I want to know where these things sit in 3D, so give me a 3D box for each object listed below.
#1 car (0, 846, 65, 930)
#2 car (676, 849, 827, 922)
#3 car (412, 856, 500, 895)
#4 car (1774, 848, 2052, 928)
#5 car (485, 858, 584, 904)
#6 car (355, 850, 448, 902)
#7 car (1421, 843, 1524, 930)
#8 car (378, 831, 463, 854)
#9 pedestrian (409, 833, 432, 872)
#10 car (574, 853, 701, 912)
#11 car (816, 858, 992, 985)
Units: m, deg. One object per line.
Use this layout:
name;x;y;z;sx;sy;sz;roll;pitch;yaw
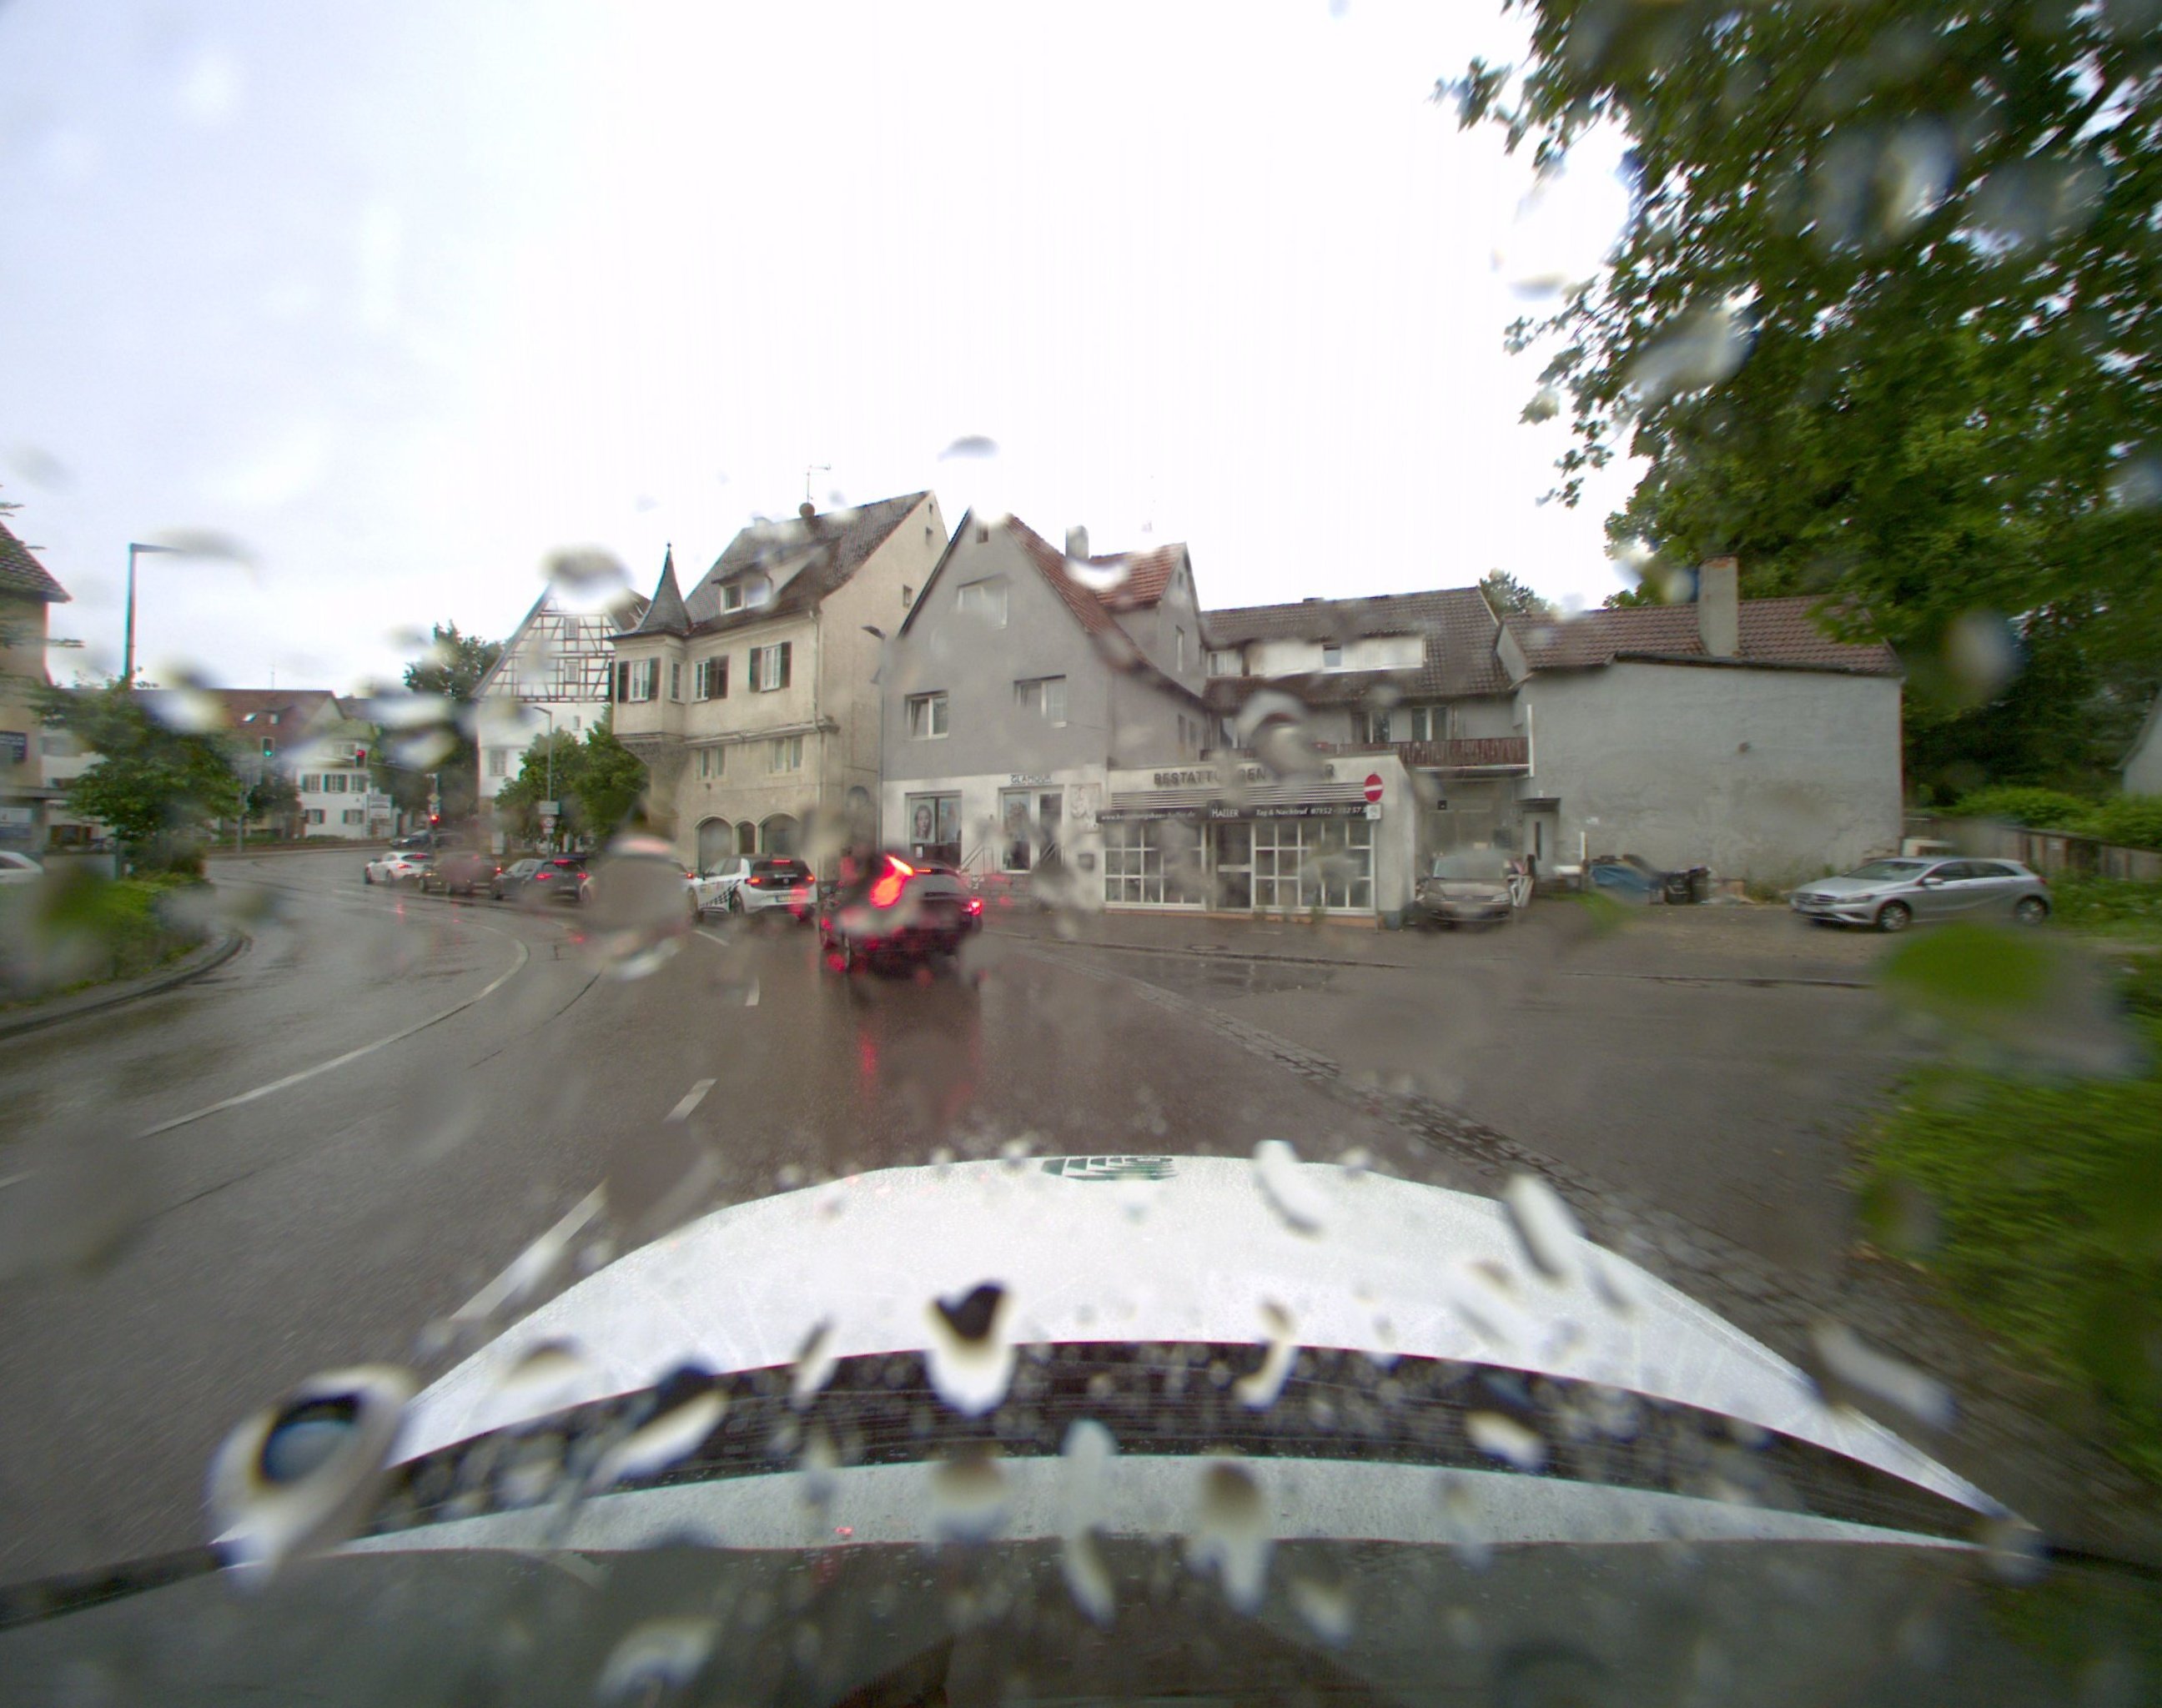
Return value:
car;-22.744;0.691;15.698;1.695;1.685;3.551;0;0;14
car;-7.932;0.692;19.425;4.188;1.517;1.805;-1;1;45
car;-24.095;0.791;31.375;3.577;1.312;1.679;1;2;35
car;17.148;0.659;16.934;4.013;1.388;1.743;-2;2;0
car;-18.633;0.871;27.713;3.719;1.361;1.533;1;2;35
car;-29.406;0.899;35.252;3.910;2.090;1.992;1;1;33
car;9.065;0.640;19.194;1.907;1.727;4.694;0;1;22
car;-47.539;-0.834;58.761;1.634;1.390;4.547;7;1;14
pedestrian;-40.027;-0.099;49.329;1.215;2.326;0.873;-1;-1;40
car;-12.884;0.753;23.567;4.111;1.465;1.803;1;2;39
car;-2.827;0.834;12.251;1.740;1.450;4.207;-1;1;-24
